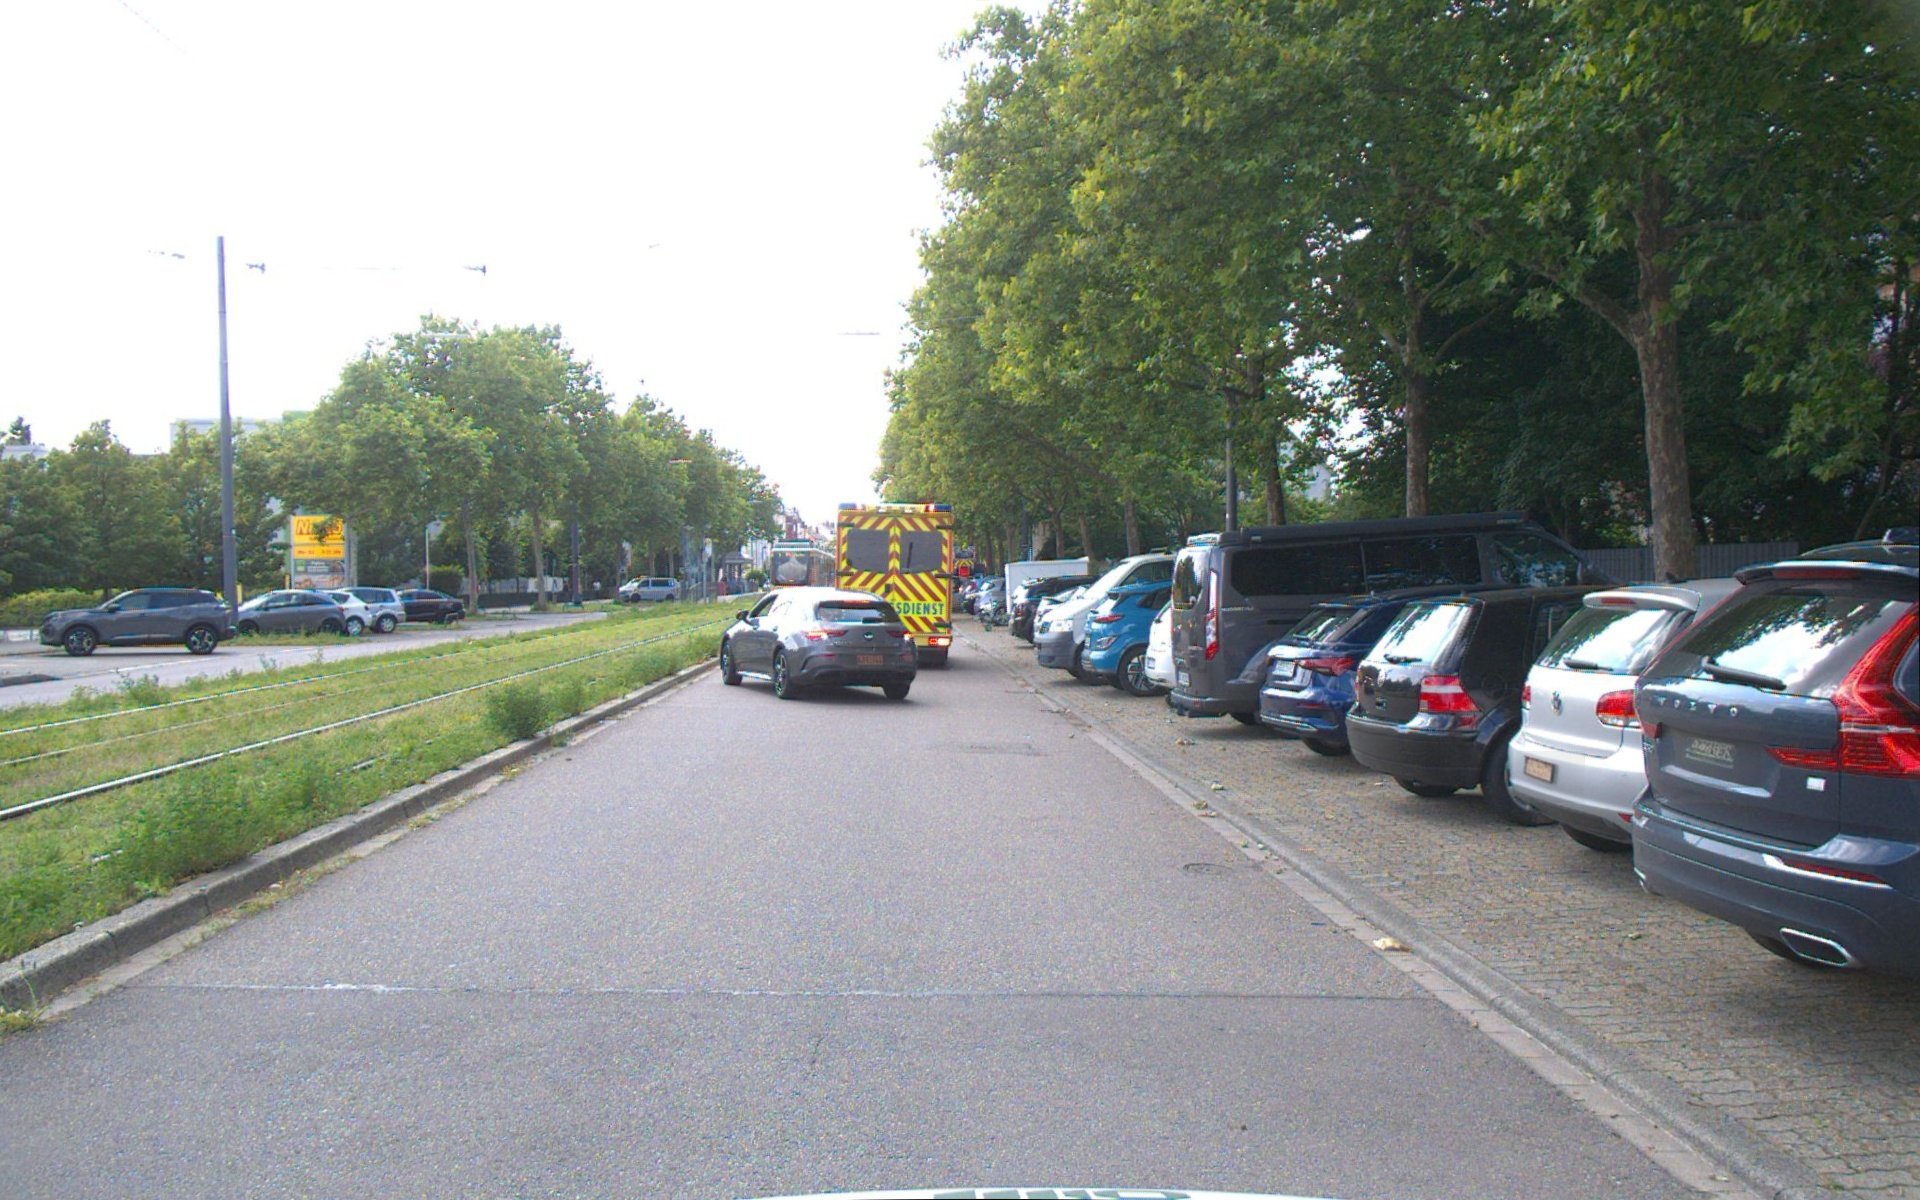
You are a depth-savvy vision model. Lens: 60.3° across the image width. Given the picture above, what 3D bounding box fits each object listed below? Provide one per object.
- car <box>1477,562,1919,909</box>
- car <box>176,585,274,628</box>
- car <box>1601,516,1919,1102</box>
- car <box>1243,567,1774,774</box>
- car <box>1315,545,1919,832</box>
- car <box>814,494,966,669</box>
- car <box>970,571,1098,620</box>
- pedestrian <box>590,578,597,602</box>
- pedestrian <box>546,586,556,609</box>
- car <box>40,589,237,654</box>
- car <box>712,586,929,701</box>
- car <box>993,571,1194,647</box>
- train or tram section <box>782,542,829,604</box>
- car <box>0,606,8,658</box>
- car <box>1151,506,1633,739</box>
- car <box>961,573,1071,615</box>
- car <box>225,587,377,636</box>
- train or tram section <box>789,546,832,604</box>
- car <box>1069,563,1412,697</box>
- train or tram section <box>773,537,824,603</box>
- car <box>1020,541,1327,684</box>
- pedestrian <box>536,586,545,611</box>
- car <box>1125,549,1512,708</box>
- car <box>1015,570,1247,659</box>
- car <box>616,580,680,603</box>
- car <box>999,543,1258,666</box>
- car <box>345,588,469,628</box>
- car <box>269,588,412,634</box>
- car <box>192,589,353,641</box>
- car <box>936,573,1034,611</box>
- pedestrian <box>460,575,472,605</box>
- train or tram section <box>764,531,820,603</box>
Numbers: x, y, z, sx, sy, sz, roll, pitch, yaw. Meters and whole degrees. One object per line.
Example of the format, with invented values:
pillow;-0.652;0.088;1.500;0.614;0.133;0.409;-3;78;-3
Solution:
car;4.889;0.573;8.483;3.887;1.520;1.755;-2;0;-3
car;-32.497;0.267;73.082;3.912;1.780;1.997;2;1;29
car;4.681;0.527;5.637;4.292;1.668;1.756;-2;0;-1
car;4.539;0.551;14.050;3.887;1.520;1.755;-2;0;-3
car;4.594;0.506;11.201;3.897;1.633;1.750;-2;1;-13
car;-1.280;-0.344;32.520;2.588;3.018;6.298;2;0;-1
car;2.694;-0.176;60.875;4.458;1.636;1.853;-2;0;-7
pedestrian;-28.202;-0.759;127.377;0.457;1.860;0.422;-1;0;-4
pedestrian;-25.743;-0.140;104.144;0.412;1.439;0.467;-1;0;22
car;-19.806;0.505;39.992;4.172;1.508;1.867;0;0;-28
car;-2.052;0.538;23.060;1.737;1.409;4.437;1;0;-23
car;3.137;0.200;39.324;4.458;1.636;1.853;-2;0;-7
train or tram section;-9.649;-1.642;103.551;2.462;3.646;7.441;-2;0;-3
car;-31.171;0.932;49.822;3.905;1.592;1.777;1;0;0
car;4.375;0.203;17.183;4.455;2.160;1.855;-2;0;-3
car;2.354;-0.270;70.716;4.458;1.636;1.853;-2;0;-7
car;-21.085;0.357;52.994;4.192;1.508;1.857;0;0;-39
train or tram section;-9.982;-1.616;110.982;2.462;3.646;7.441;-2;0;-3
car;3.935;0.387;23.591;4.459;1.689;1.853;-2;0;-7
train or tram section;-9.310;-1.667;96.117;2.462;3.646;7.441;-2;0;-3
car;3.313;0.173;26.101;4.458;2.035;1.853;-2;0;-7
pedestrian;-25.935;-0.108;102.258;0.413;1.499;0.467;-1;0;-7
car;4.477;0.332;21.080;4.455;1.797;1.855;-2;0;-3
car;3.492;0.275;34.180;4.458;1.636;1.853;-2;0;-7
car;-24.242;-0.684;128.649;4.588;1.661;1.855;-2;1;-42
car;3.079;0.064;30.687;4.458;2.079;1.853;-2;0;-7
car;-21.447;0.304;64.204;4.199;1.508;1.854;0;0;-42
car;-20.956;0.347;56.016;4.192;1.508;1.857;0;0;-39
car;-20.806;0.448;50.091;4.192;1.508;1.857;0;0;-39
car;1.187;-0.391;78.904;4.458;1.636;1.853;-2;0;-7
pedestrian;-27.628;-0.558;92.504;0.457;1.706;0.603;-1;0;-4
train or tram section;-8.962;-1.692;88.696;2.462;3.646;7.441;-2;0;-3
